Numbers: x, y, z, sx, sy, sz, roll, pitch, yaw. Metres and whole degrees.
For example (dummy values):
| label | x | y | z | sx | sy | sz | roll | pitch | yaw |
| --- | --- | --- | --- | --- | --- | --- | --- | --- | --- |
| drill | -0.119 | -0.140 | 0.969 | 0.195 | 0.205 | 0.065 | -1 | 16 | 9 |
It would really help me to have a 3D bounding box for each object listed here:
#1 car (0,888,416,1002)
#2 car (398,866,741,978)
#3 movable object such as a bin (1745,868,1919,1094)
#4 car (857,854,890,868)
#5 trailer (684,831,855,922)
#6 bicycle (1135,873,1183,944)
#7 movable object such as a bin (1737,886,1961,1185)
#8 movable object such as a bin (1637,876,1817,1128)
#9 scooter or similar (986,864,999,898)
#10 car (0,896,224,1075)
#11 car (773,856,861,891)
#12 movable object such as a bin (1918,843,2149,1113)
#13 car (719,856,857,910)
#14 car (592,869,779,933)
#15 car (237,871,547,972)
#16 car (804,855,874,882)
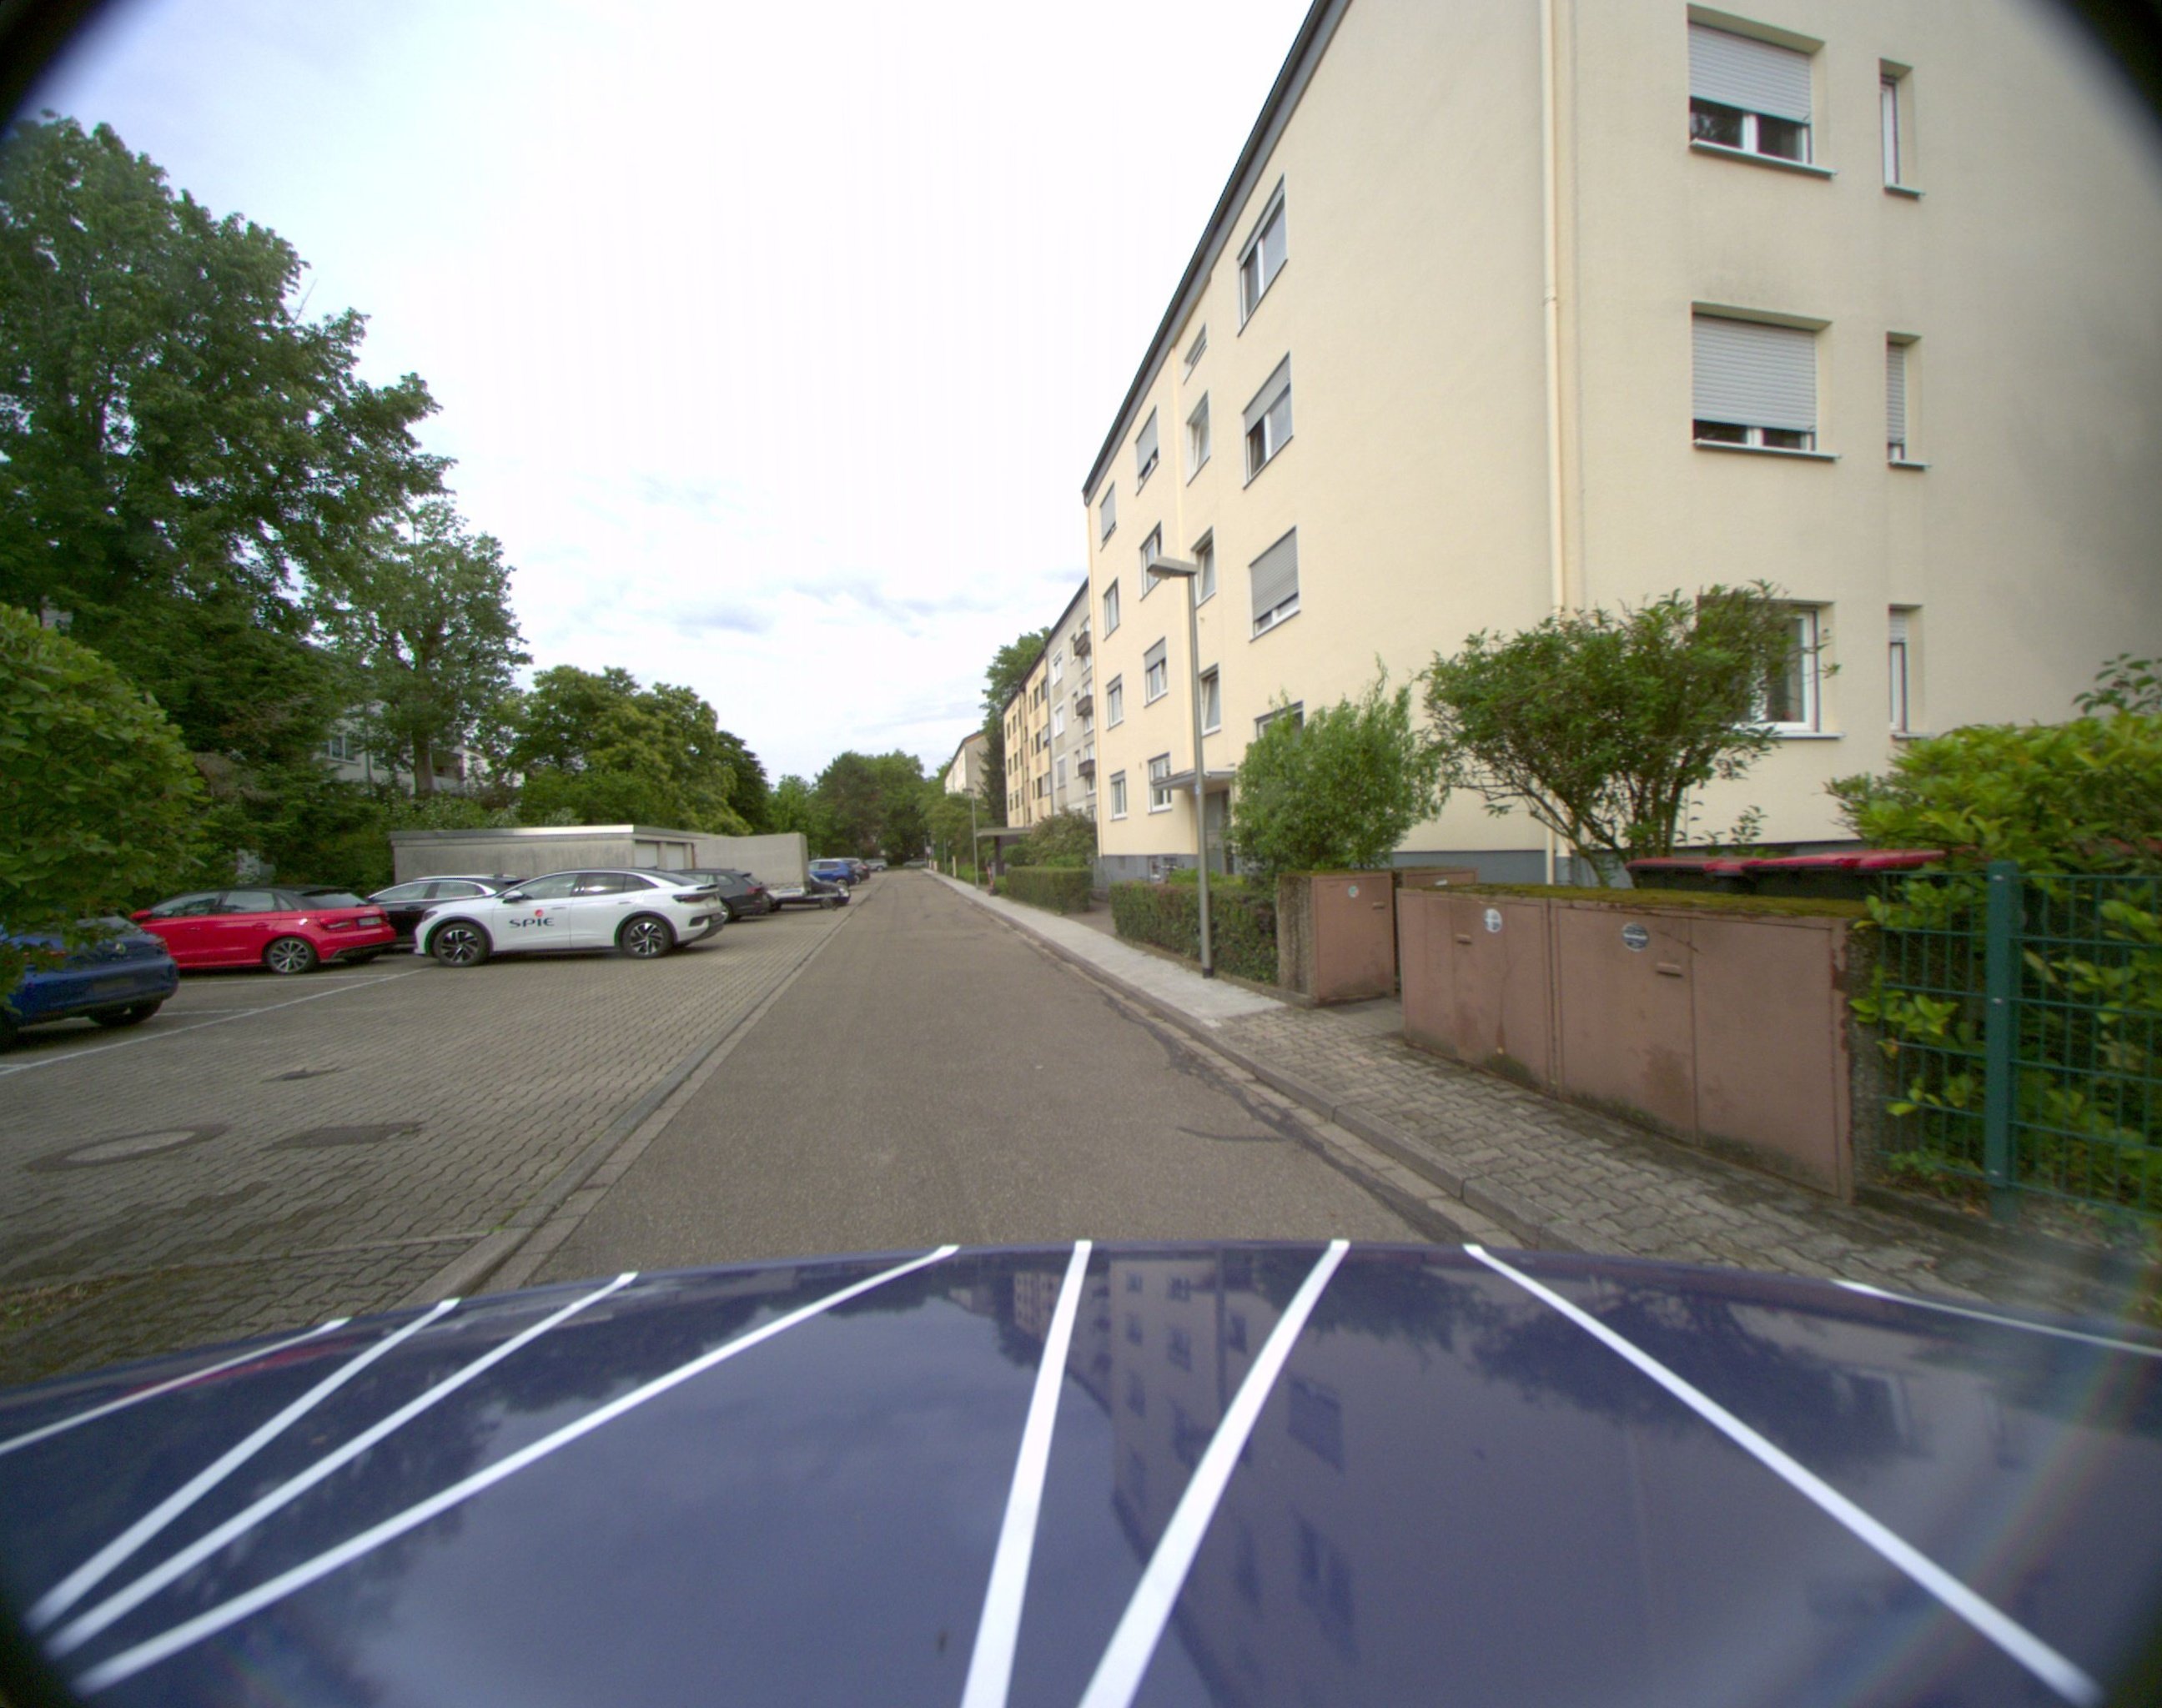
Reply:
| label | x | y | z | sx | sy | sz | roll | pitch | yaw |
| --- | --- | --- | --- | --- | --- | --- | --- | --- | --- |
| car | -13.626 | 1.359 | 12.193 | 3.911 | 1.372 | 1.969 | -2 | 0 | -13 |
| car | -8.731 | 1.105 | 13.447 | 4.553 | 1.579 | 1.986 | -2 | 0 | -11 |
| movable object such as a bin | 4.260 | 0.679 | 4.332 | 0.507 | 1.181 | 0.514 | -1 | 1 | -14 |
| car | -27.112 | 0.845 | 99.494 | 4.108 | 1.637 | 1.785 | -2 | 2 | -14 |
| trailer | -9.715 | 0.656 | 24.074 | 4.626 | 2.510 | 1.940 | -3 | 1 | -13 |
| bicycle | 1.301 | 0.884 | 12.864 | 0.319 | 1.069 | 1.416 | -3 | 1 | -12 |
| movable object such as a bin | 3.397 | 0.749 | 3.390 | 0.507 | 1.181 | 0.514 | -1 | 1 | -14 |
| movable object such as a bin | 3.331 | 0.716 | 3.944 | 0.507 | 1.181 | 0.514 | -1 | 1 | -14 |
| scooter or similar | -3.241 | 0.982 | 27.804 | 0.274 | 1.204 | 1.163 | -2 | 0 | -14 |
| car | -11.731 | 1.310 | 7.443 | 3.911 | 1.502 | 2.025 | -2 | 0 | -13 |
| car | -13.248 | 0.971 | 38.327 | 4.002 | 1.693 | 1.998 | 0 | 0 | -14 |
| movable object such as a bin | 4.467 | 0.535 | 3.587 | 0.507 | 1.158 | 0.514 | -1 | 1 | -14 |
| car | -10.253 | 0.974 | 26.906 | 4.326 | 1.791 | 1.998 | 0 | 0 | -14 |
| car | -10.514 | 1.215 | 20.503 | 4.142 | 1.440 | 1.610 | -2 | 1 | -13 |
| car | -13.145 | 1.205 | 14.878 | 4.004 | 1.543 | 1.996 | -2 | 1 | -23 |
| car | -15.738 | 0.944 | 49.685 | 4.211 | 1.717 | 1.998 | 0 | 0 | -14 |
